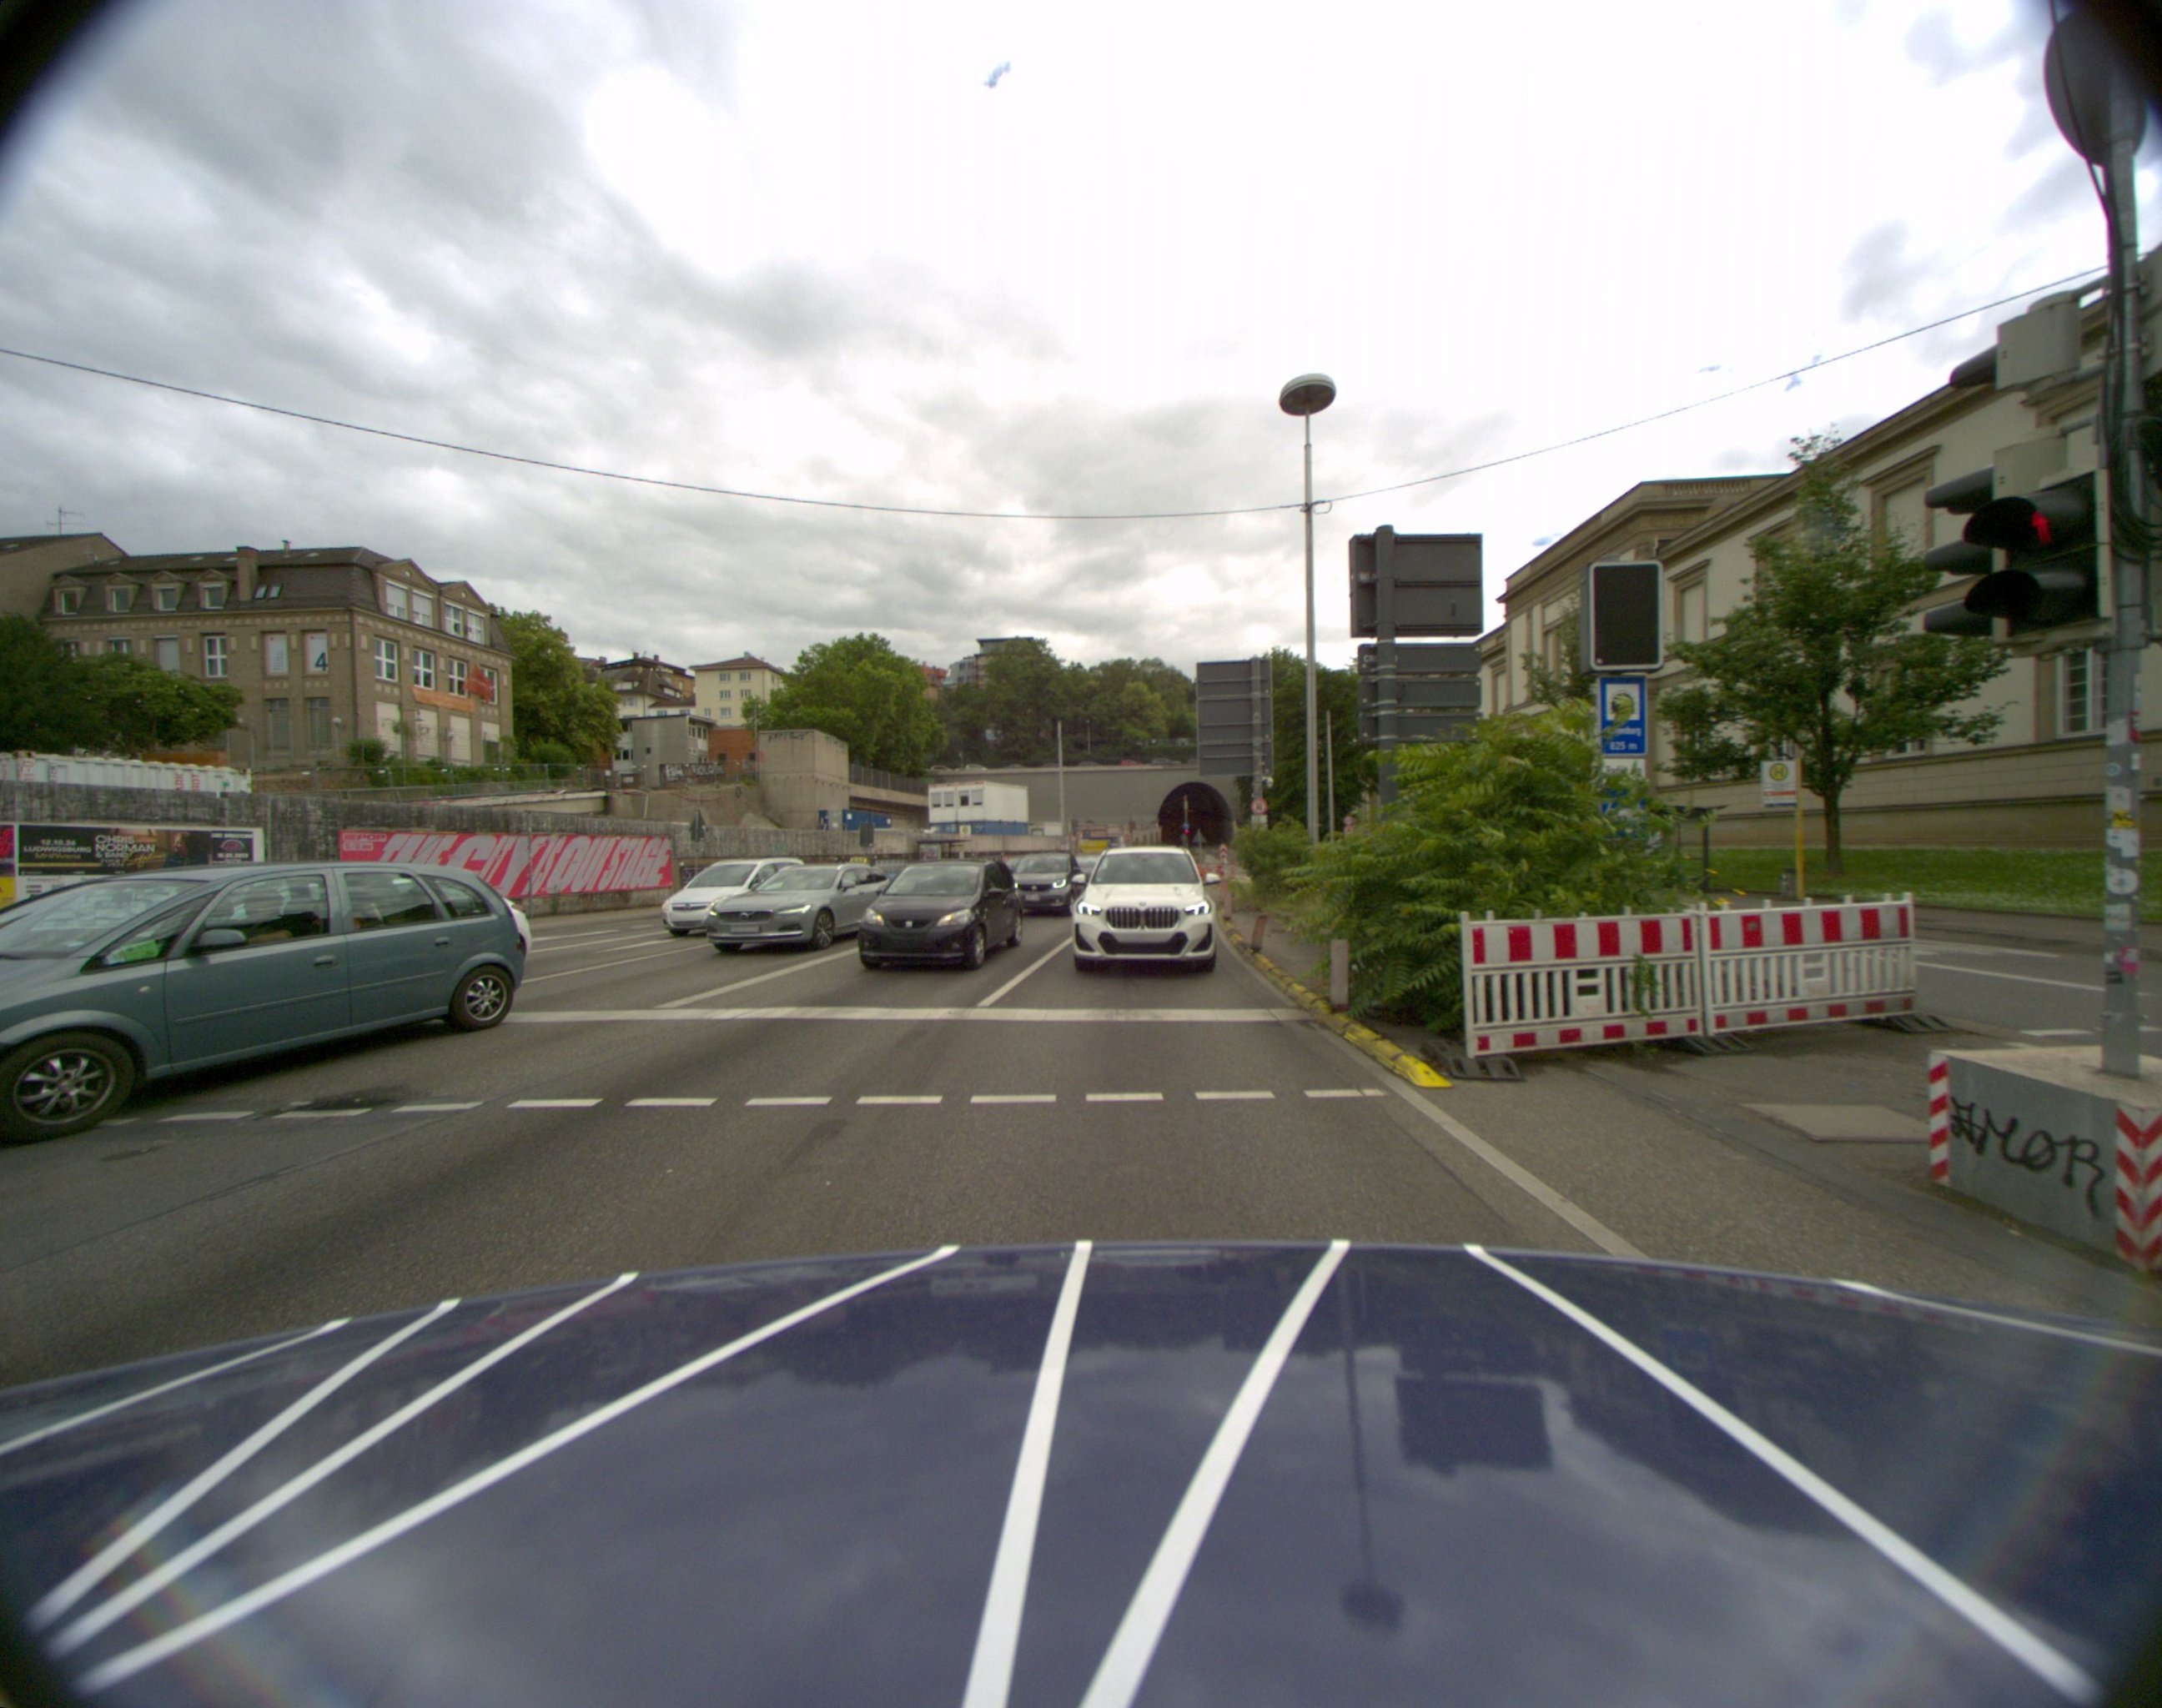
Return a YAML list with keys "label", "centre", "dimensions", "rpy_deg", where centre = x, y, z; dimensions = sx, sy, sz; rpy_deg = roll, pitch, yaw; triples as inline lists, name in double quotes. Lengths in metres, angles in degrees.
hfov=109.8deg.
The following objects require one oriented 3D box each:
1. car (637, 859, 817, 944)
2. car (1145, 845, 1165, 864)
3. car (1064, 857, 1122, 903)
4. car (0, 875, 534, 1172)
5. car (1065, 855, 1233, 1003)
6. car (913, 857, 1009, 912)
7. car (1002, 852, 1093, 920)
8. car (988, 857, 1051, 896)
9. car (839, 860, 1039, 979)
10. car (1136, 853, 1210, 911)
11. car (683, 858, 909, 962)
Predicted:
- label: "car"
  centre: [-7.801, 0.976, 17.249]
  dimensions: [1.690, 1.565, 4.073]
  rpy_deg: [-3, 0, 8]
- label: "car"
  centre: [6.562, 0.058, 66.920]
  dimensions: [1.567, 1.564, 3.292]
  rpy_deg: [-1, 0, 8]
- label: "car"
  centre: [0.522, 0.921, 28.423]
  dimensions: [1.690, 1.564, 3.996]
  rpy_deg: [-1, 0, 8]
- label: "car"
  centre: [-6.468, 0.968, 5.592]
  dimensions: [1.690, 1.564, 3.958]
  rpy_deg: [-1, -1, 8]
- label: "car"
  centre: [0.844, 0.830, 10.150]
  dimensions: [1.811, 1.595, 3.714]
  rpy_deg: [-1, 0, 3]
- label: "car"
  centre: [-3.697, 0.902, 24.314]
  dimensions: [1.809, 1.569, 4.441]
  rpy_deg: [-1, 0, 8]
- label: "car"
  centre: [-0.776, 0.757, 19.685]
  dimensions: [1.690, 1.564, 3.715]
  rpy_deg: [-1, 0, 8]
- label: "car"
  centre: [-2.595, 0.927, 33.077]
  dimensions: [1.809, 1.569, 4.441]
  rpy_deg: [-1, 0, 8]
- label: "car"
  centre: [-1.943, 0.854, 11.837]
  dimensions: [1.732, 1.461, 4.421]
  rpy_deg: [-1, 0, 8]
- label: "car"
  centre: [2.893, 0.794, 23.097]
  dimensions: [1.997, 1.543, 4.003]
  rpy_deg: [-1, 1, 10]
- label: "car"
  centre: [-4.969, 0.893, 14.139]
  dimensions: [1.908, 1.569, 4.685]
  rpy_deg: [-1, 0, 8]
